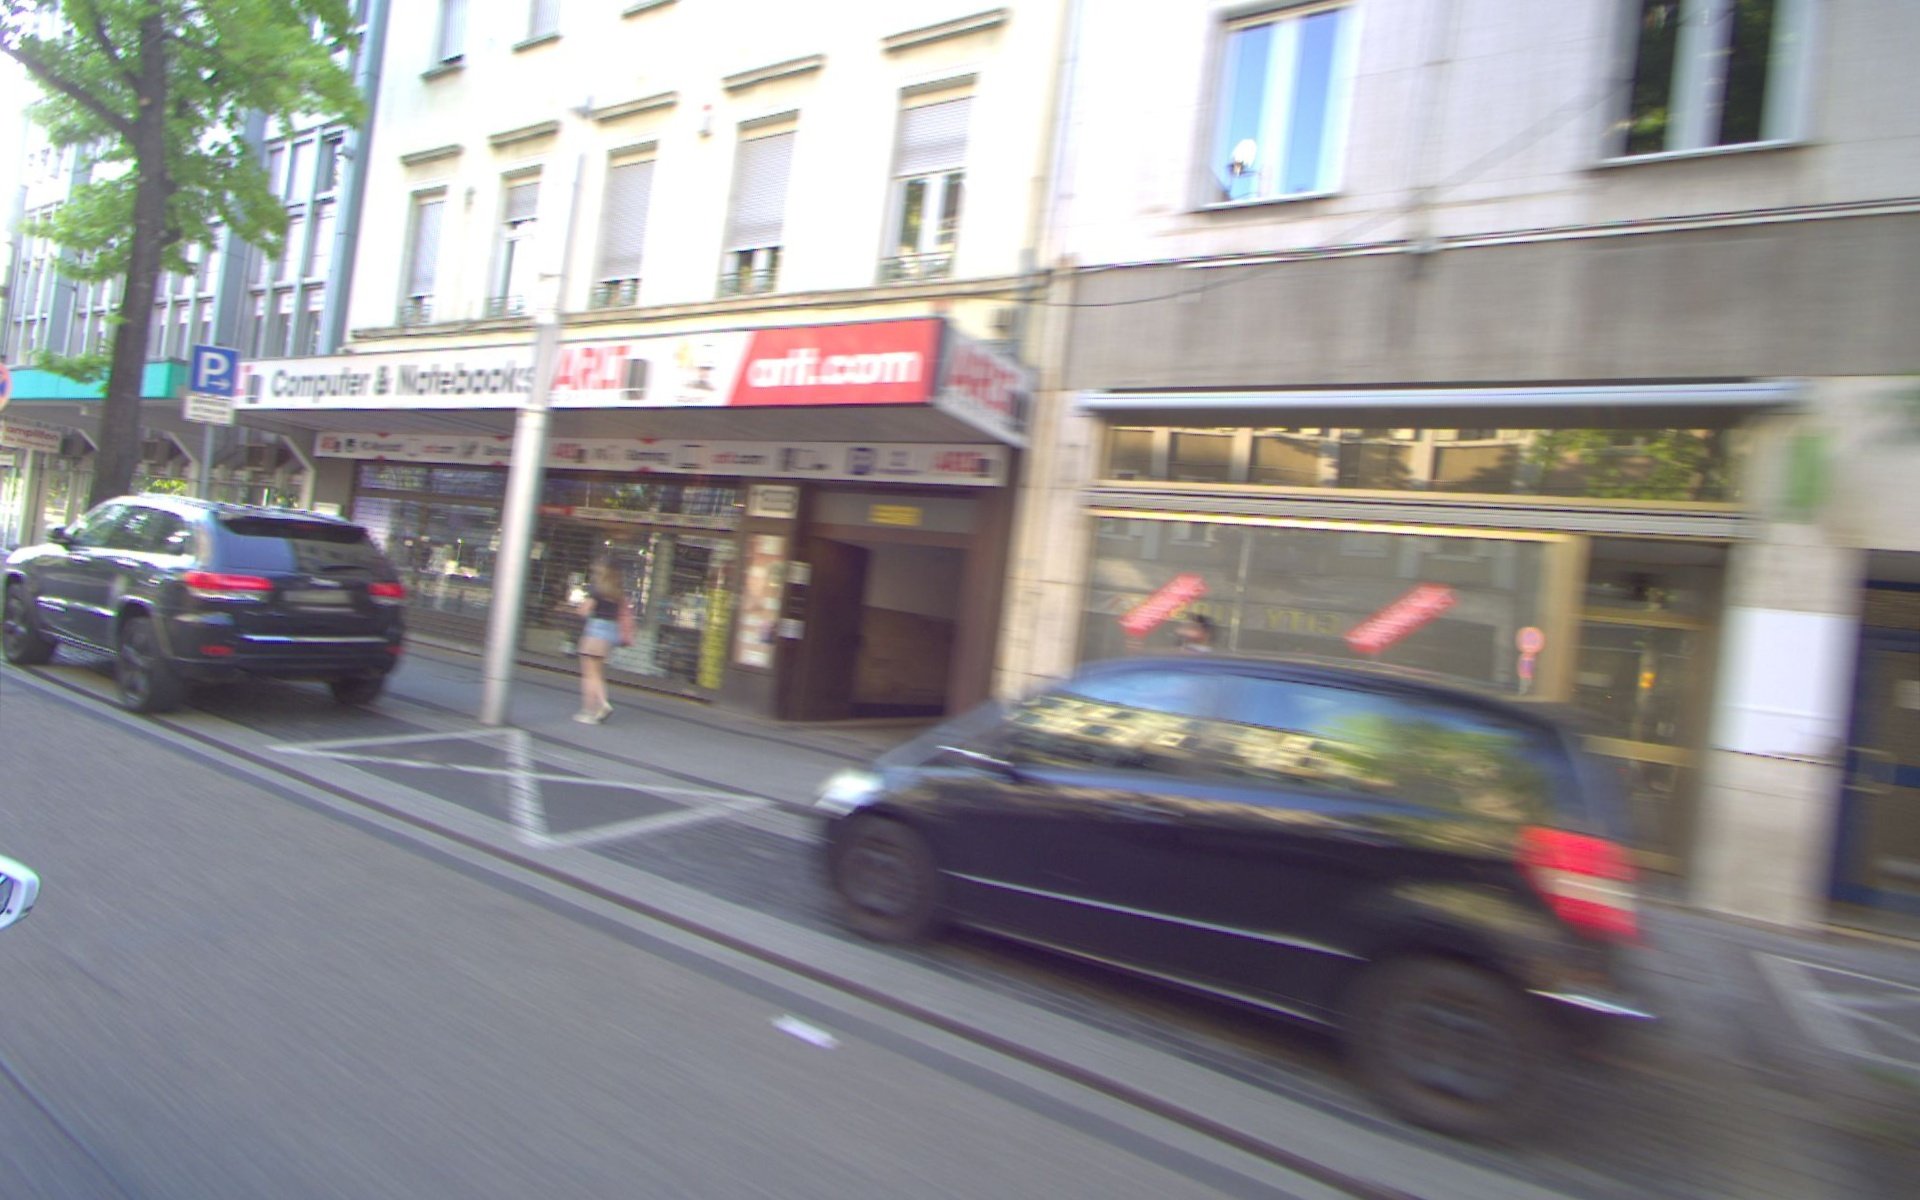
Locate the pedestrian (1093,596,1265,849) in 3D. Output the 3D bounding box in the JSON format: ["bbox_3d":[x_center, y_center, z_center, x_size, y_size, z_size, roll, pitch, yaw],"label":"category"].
[{"bbox_3d":[1.737,0.912,7.941,0.917,1.776,0.858,7,3,31],"label":"pedestrian"}]

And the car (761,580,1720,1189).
[{"bbox_3d":[1.124,0.921,4.940,3.827,1.612,1.777,7,2,31],"label":"car"}]

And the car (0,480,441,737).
[{"bbox_3d":[-7.261,-0.051,9.599,4.602,1.783,1.938,7,2,32],"label":"car"}]

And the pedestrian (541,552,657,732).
[{"bbox_3d":[-3.656,0.412,10.205,0.773,1.692,0.643,7,3,32],"label":"pedestrian"}]
